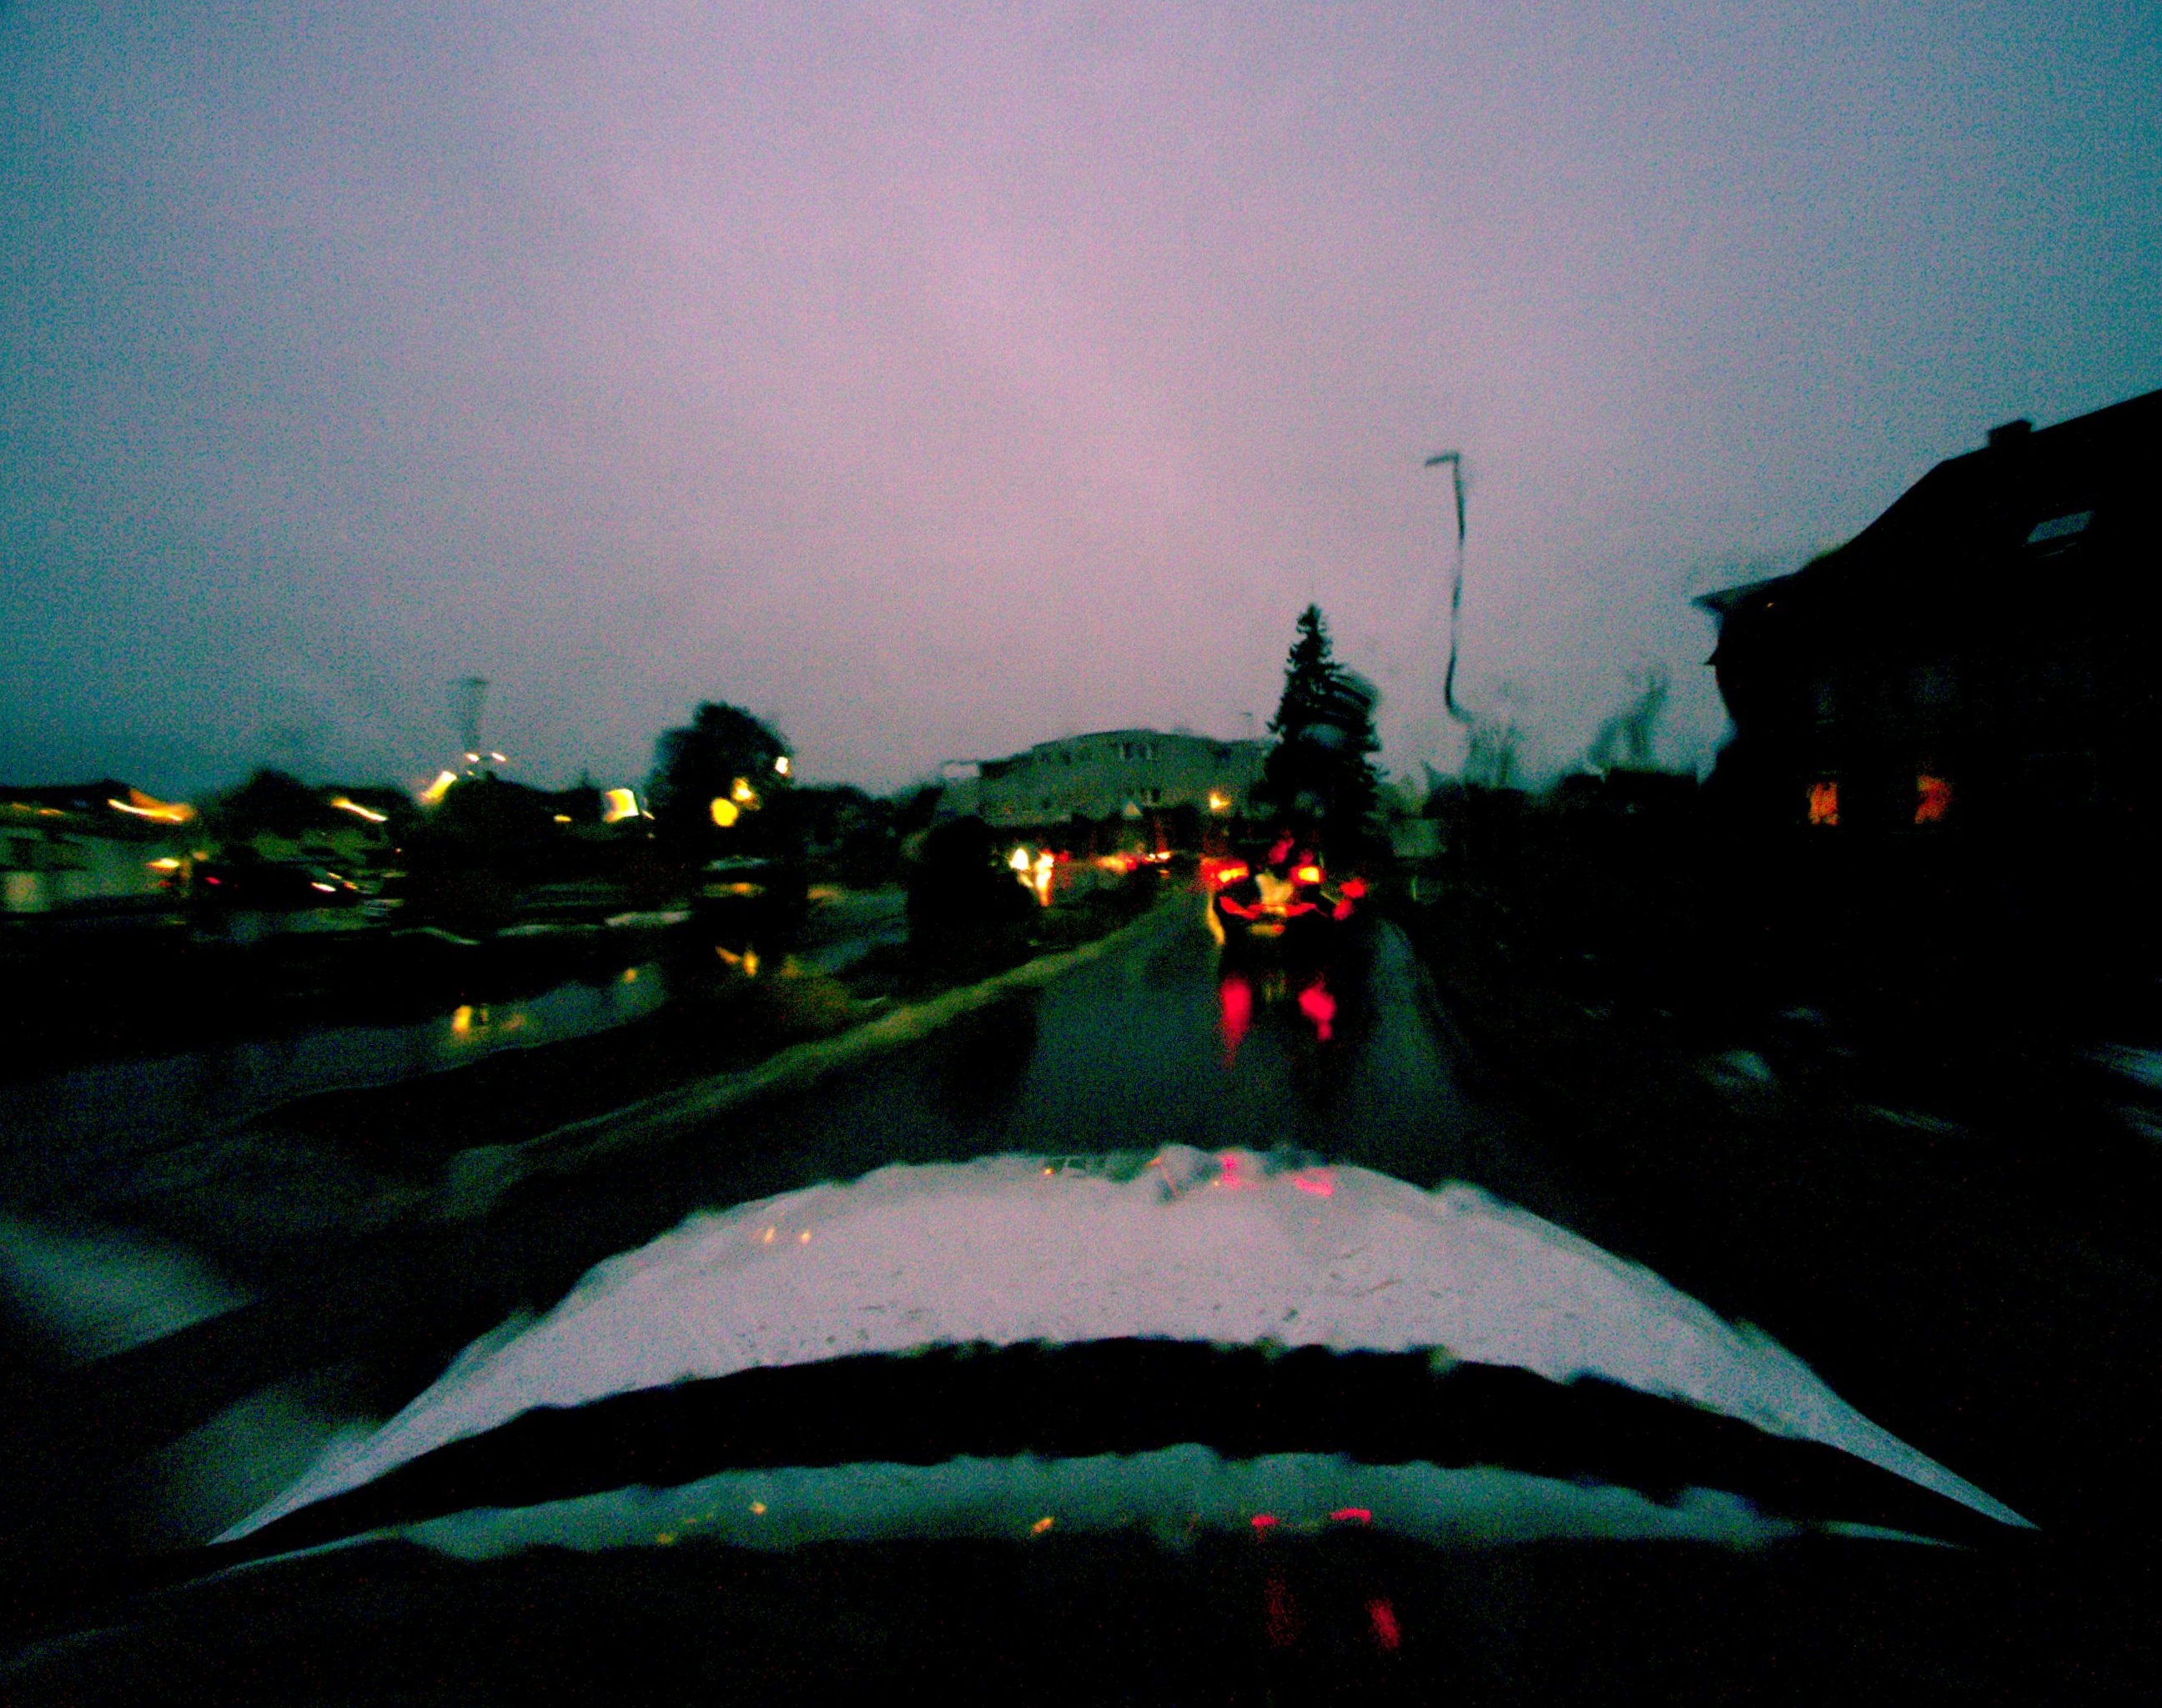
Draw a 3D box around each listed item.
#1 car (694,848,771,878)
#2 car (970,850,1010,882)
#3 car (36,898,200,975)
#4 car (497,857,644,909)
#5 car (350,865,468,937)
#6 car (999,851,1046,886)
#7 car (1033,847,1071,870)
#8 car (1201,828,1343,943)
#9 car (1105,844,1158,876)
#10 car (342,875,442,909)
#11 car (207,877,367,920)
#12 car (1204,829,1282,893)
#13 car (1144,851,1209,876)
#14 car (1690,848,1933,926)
[{"bbox_3d":[-23.167,0.575,54.289,4.379,1.747,1.686,-3,2,-41],"label":"car"},{"bbox_3d":[-6.690,0.823,59.600,2.167,2.060,4.548,-2,2,-15],"label":"car"},{"bbox_3d":[-21.907,1.795,18.706,1.852,1.311,3.953,0,1,-41],"label":"car"},{"bbox_3d":[-23.471,1.254,37.638,2.008,2.134,5.455,0,1,44],"label":"car"},{"bbox_3d":[-17.359,1.126,21.232,2.074,1.561,4.234,0,1,-36],"label":"car"},{"bbox_3d":[-3.903,0.912,53.907,2.168,2.060,4.546,-2,2,-16],"label":"car"},{"bbox_3d":[-2.212,0.346,60.128,1.885,1.548,4.549,-2,-1,-14],"label":"car"},{"bbox_3d":[3.218,0.434,14.493,1.934,1.718,4.007,-2,1,6],"label":"car"},{"bbox_3d":[2.984,0.329,49.247,2.064,1.716,4.554,-2,2,-11],"label":"car"},{"bbox_3d":[-36.035,1.954,42.638,3.873,1.541,1.707,-1,1,-44],"label":"car"},{"bbox_3d":[-36.077,1.980,37.222,5.077,1.665,1.776,-1,1,-40],"label":"car"},{"bbox_3d":[5.190,0.140,26.448,2.150,1.689,4.584,-5,2,9],"label":"car"},{"bbox_3d":[6.751,0.626,57.230,4.595,1.572,1.886,-2,2,-40],"label":"car"},{"bbox_3d":[14.830,0.589,16.770,1.286,1.383,3.556,-1,1,-20],"label":"car"}]
